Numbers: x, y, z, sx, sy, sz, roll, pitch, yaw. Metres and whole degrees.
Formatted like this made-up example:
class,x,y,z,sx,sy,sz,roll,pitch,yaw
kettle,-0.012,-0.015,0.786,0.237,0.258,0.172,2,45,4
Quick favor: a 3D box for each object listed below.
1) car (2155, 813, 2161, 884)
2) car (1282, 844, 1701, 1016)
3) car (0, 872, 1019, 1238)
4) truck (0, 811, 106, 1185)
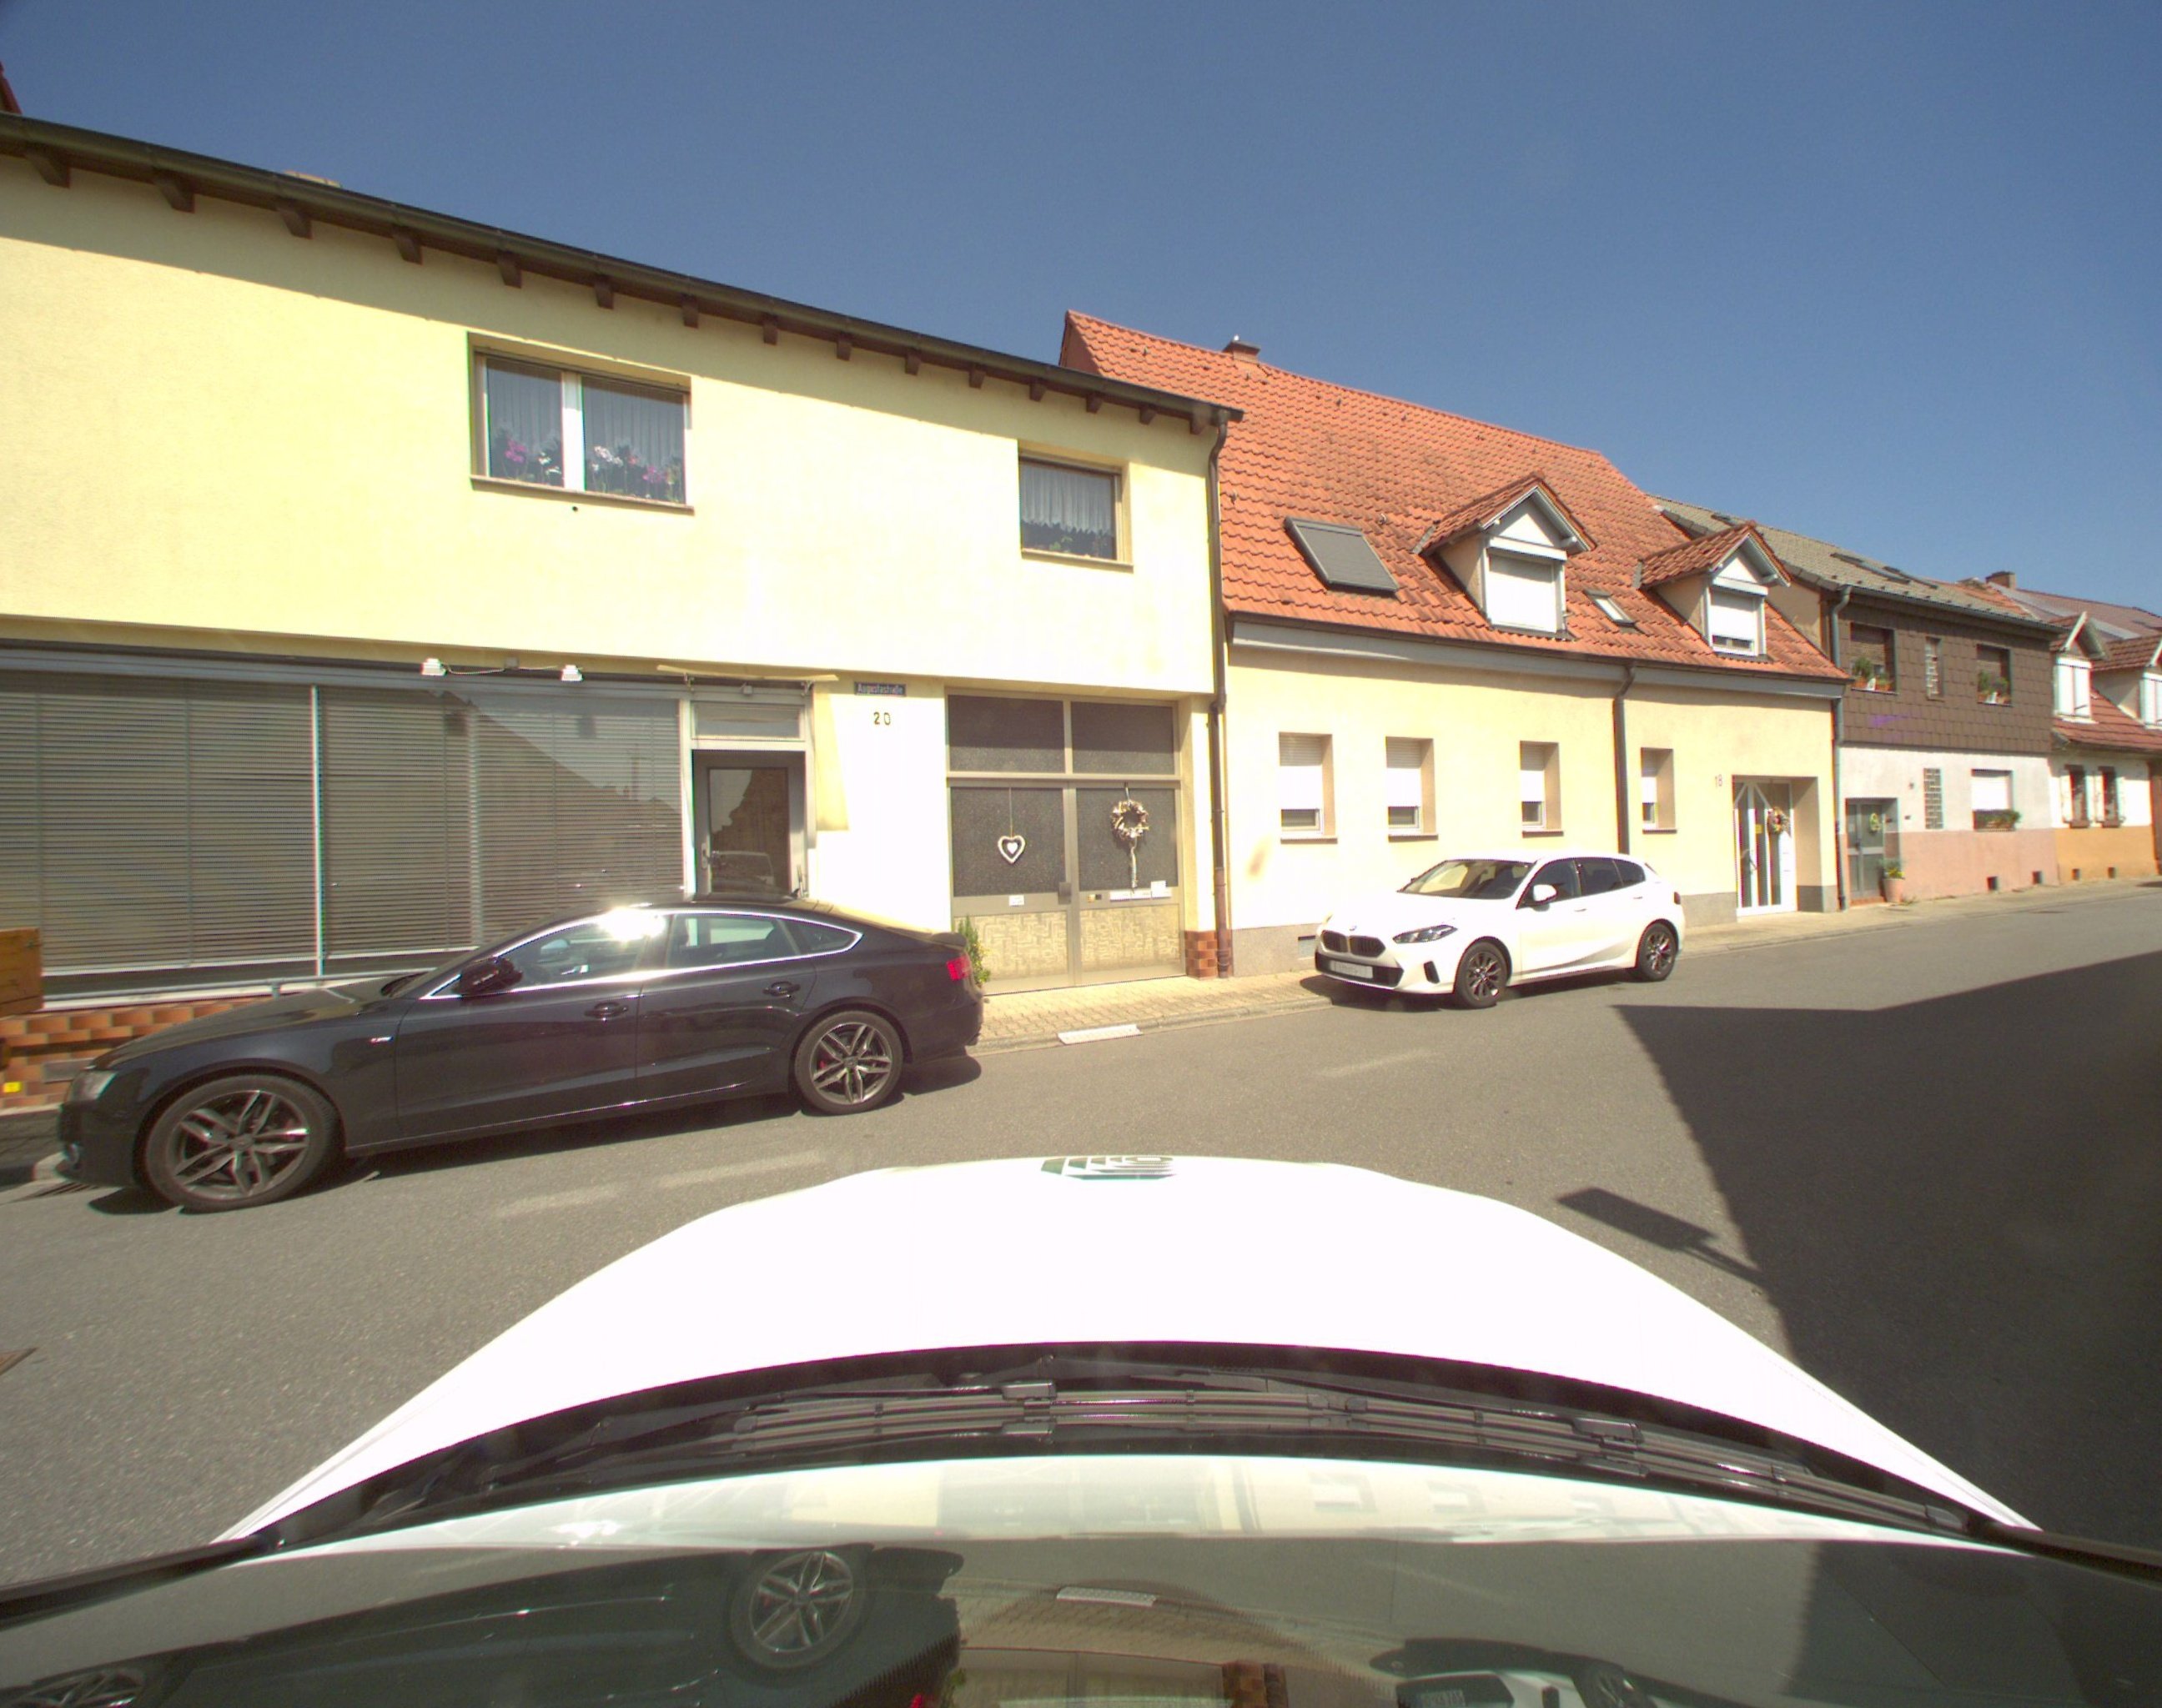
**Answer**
class,x,y,z,sx,sy,sz,roll,pitch,yaw
car,26.526,-0.200,18.255,4.618,1.574,1.792,-2,-1,-22
car,4.506,0.690,8.940,4.220,1.454,1.774,-2,-1,-23
car,-2.935,0.943,5.324,4.639,1.394,1.912,-1,-4,-25
truck,-8.051,0.826,3.098,5.086,2.014,2.172,-2,-1,-23
